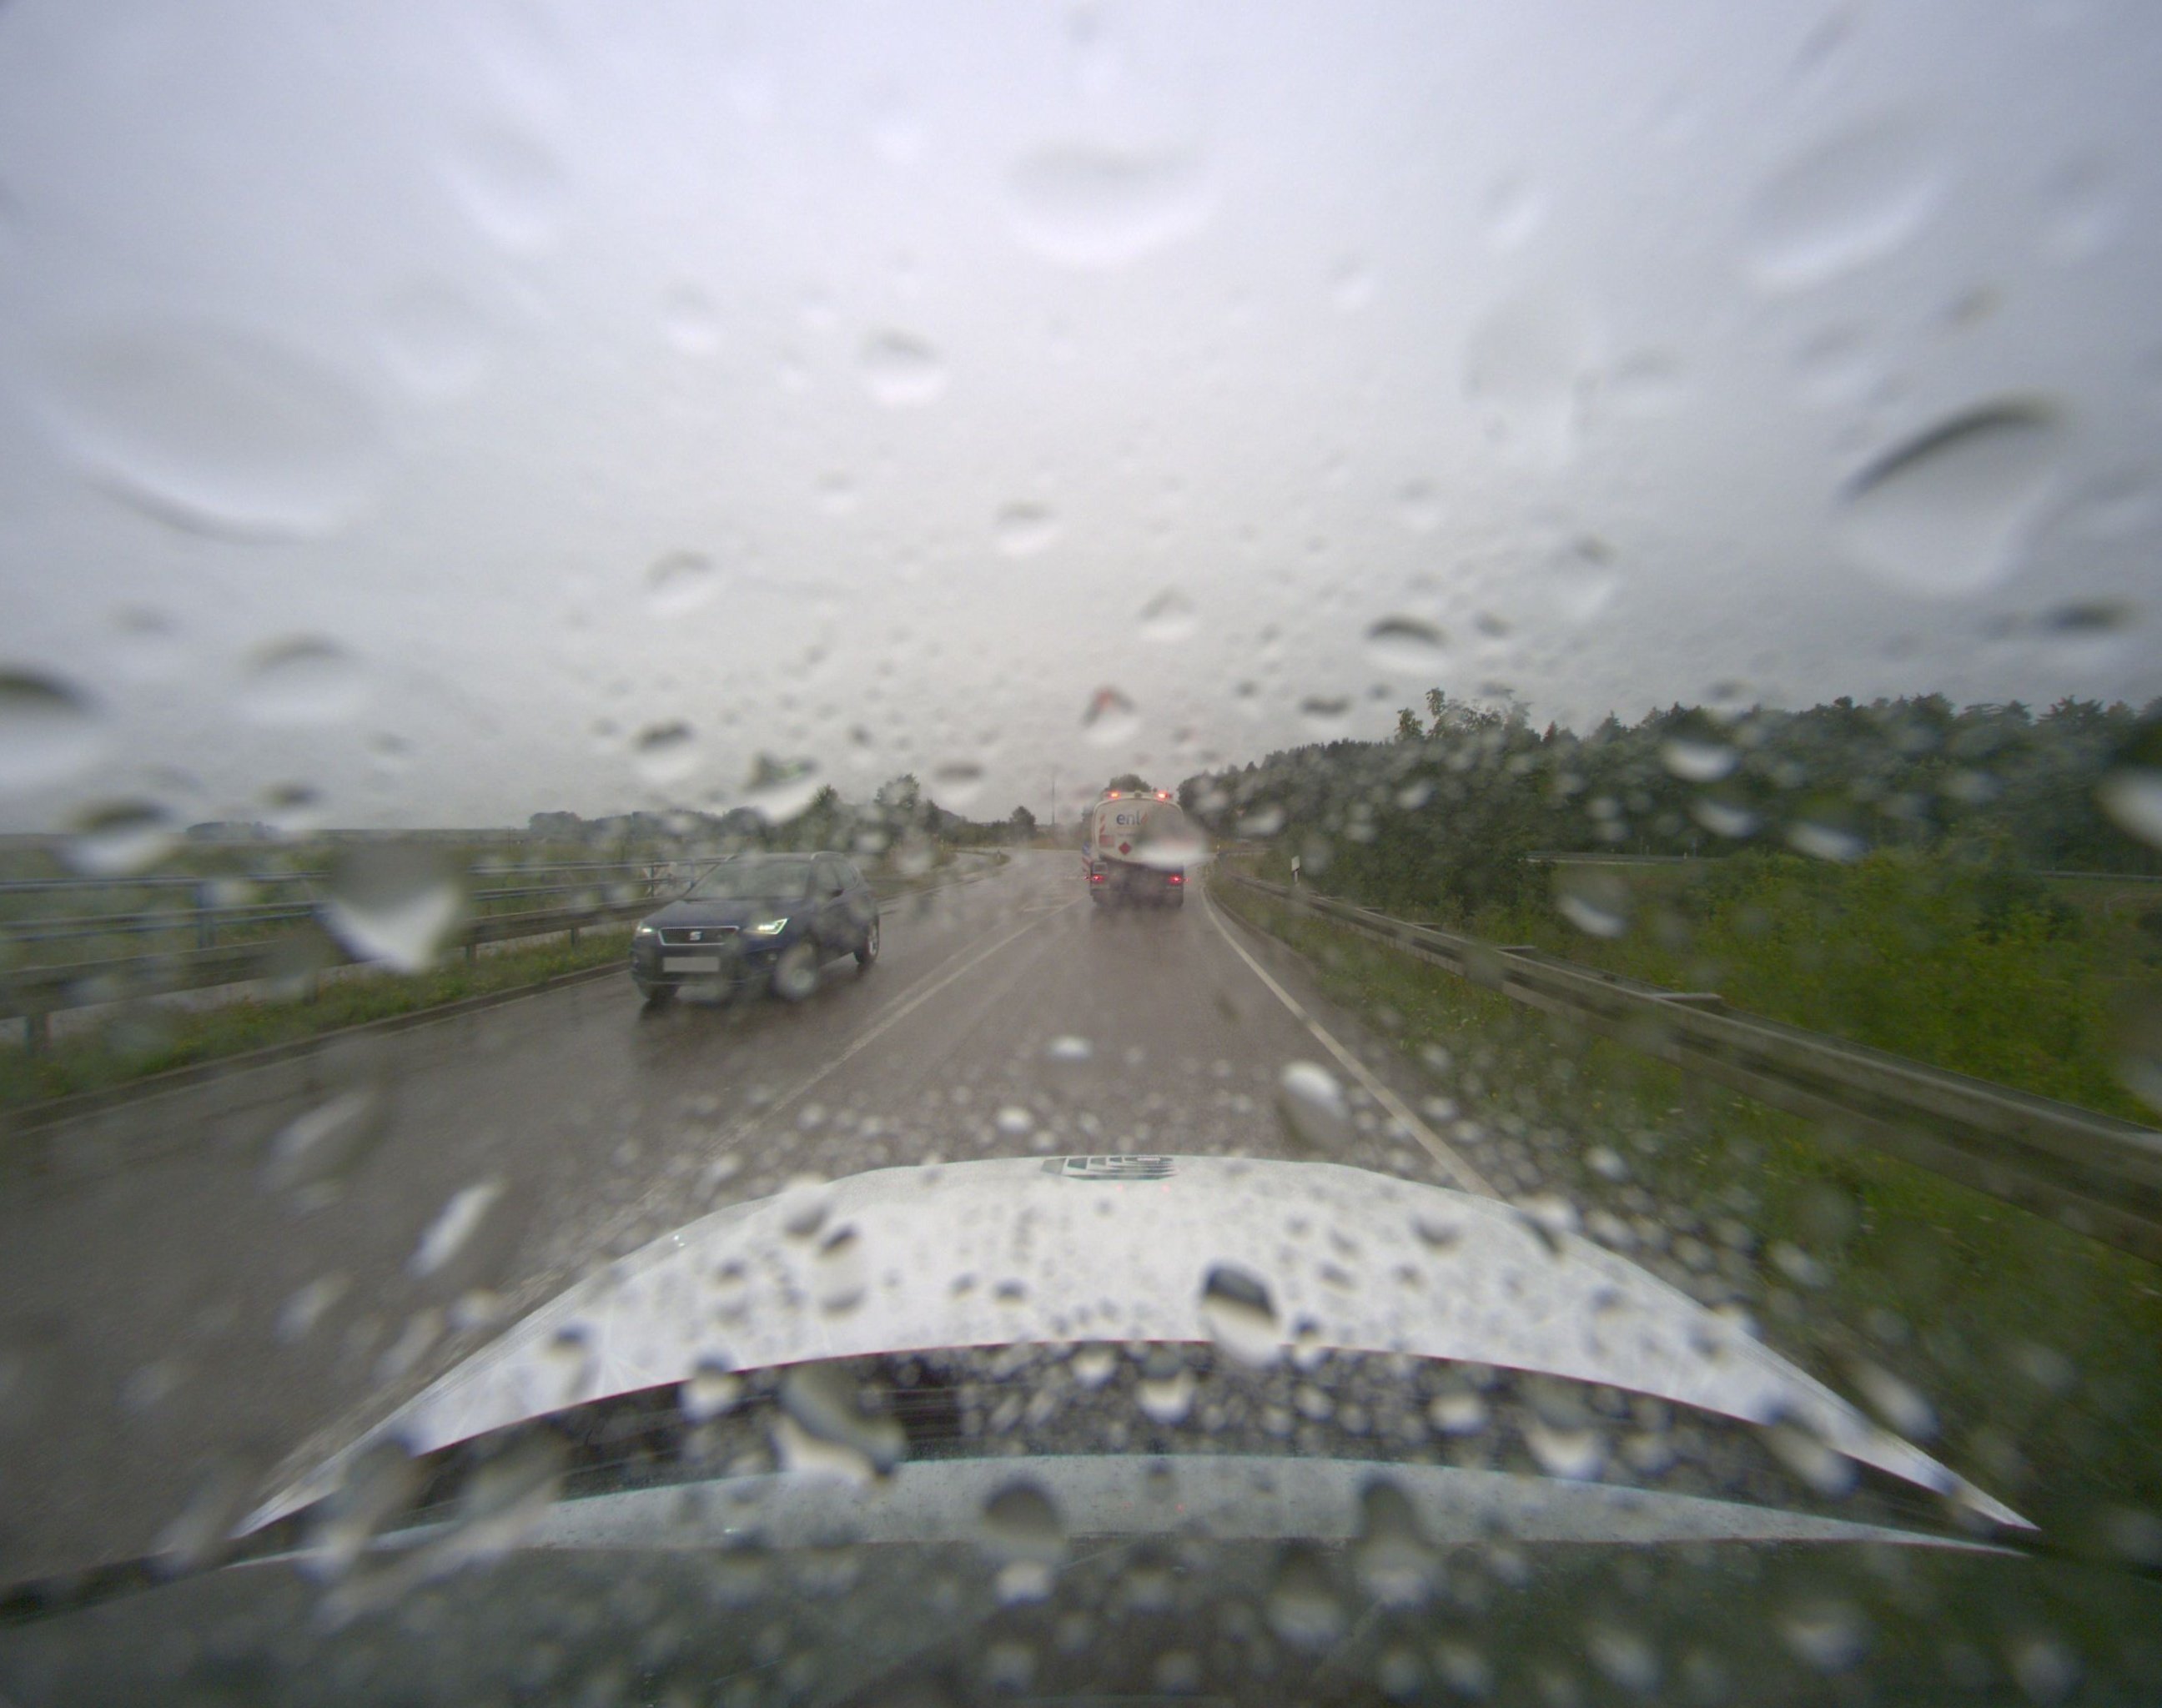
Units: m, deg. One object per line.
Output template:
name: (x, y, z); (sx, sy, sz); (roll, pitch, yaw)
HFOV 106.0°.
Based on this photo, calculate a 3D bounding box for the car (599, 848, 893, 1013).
car: (-3.638, 0.705, 9.770); (1.775, 1.526, 4.168); (-1, 0, 0)

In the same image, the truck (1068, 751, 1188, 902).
truck: (1.689, -0.791, 25.271); (3.024, 3.851, 8.839); (0, 1, 6)
